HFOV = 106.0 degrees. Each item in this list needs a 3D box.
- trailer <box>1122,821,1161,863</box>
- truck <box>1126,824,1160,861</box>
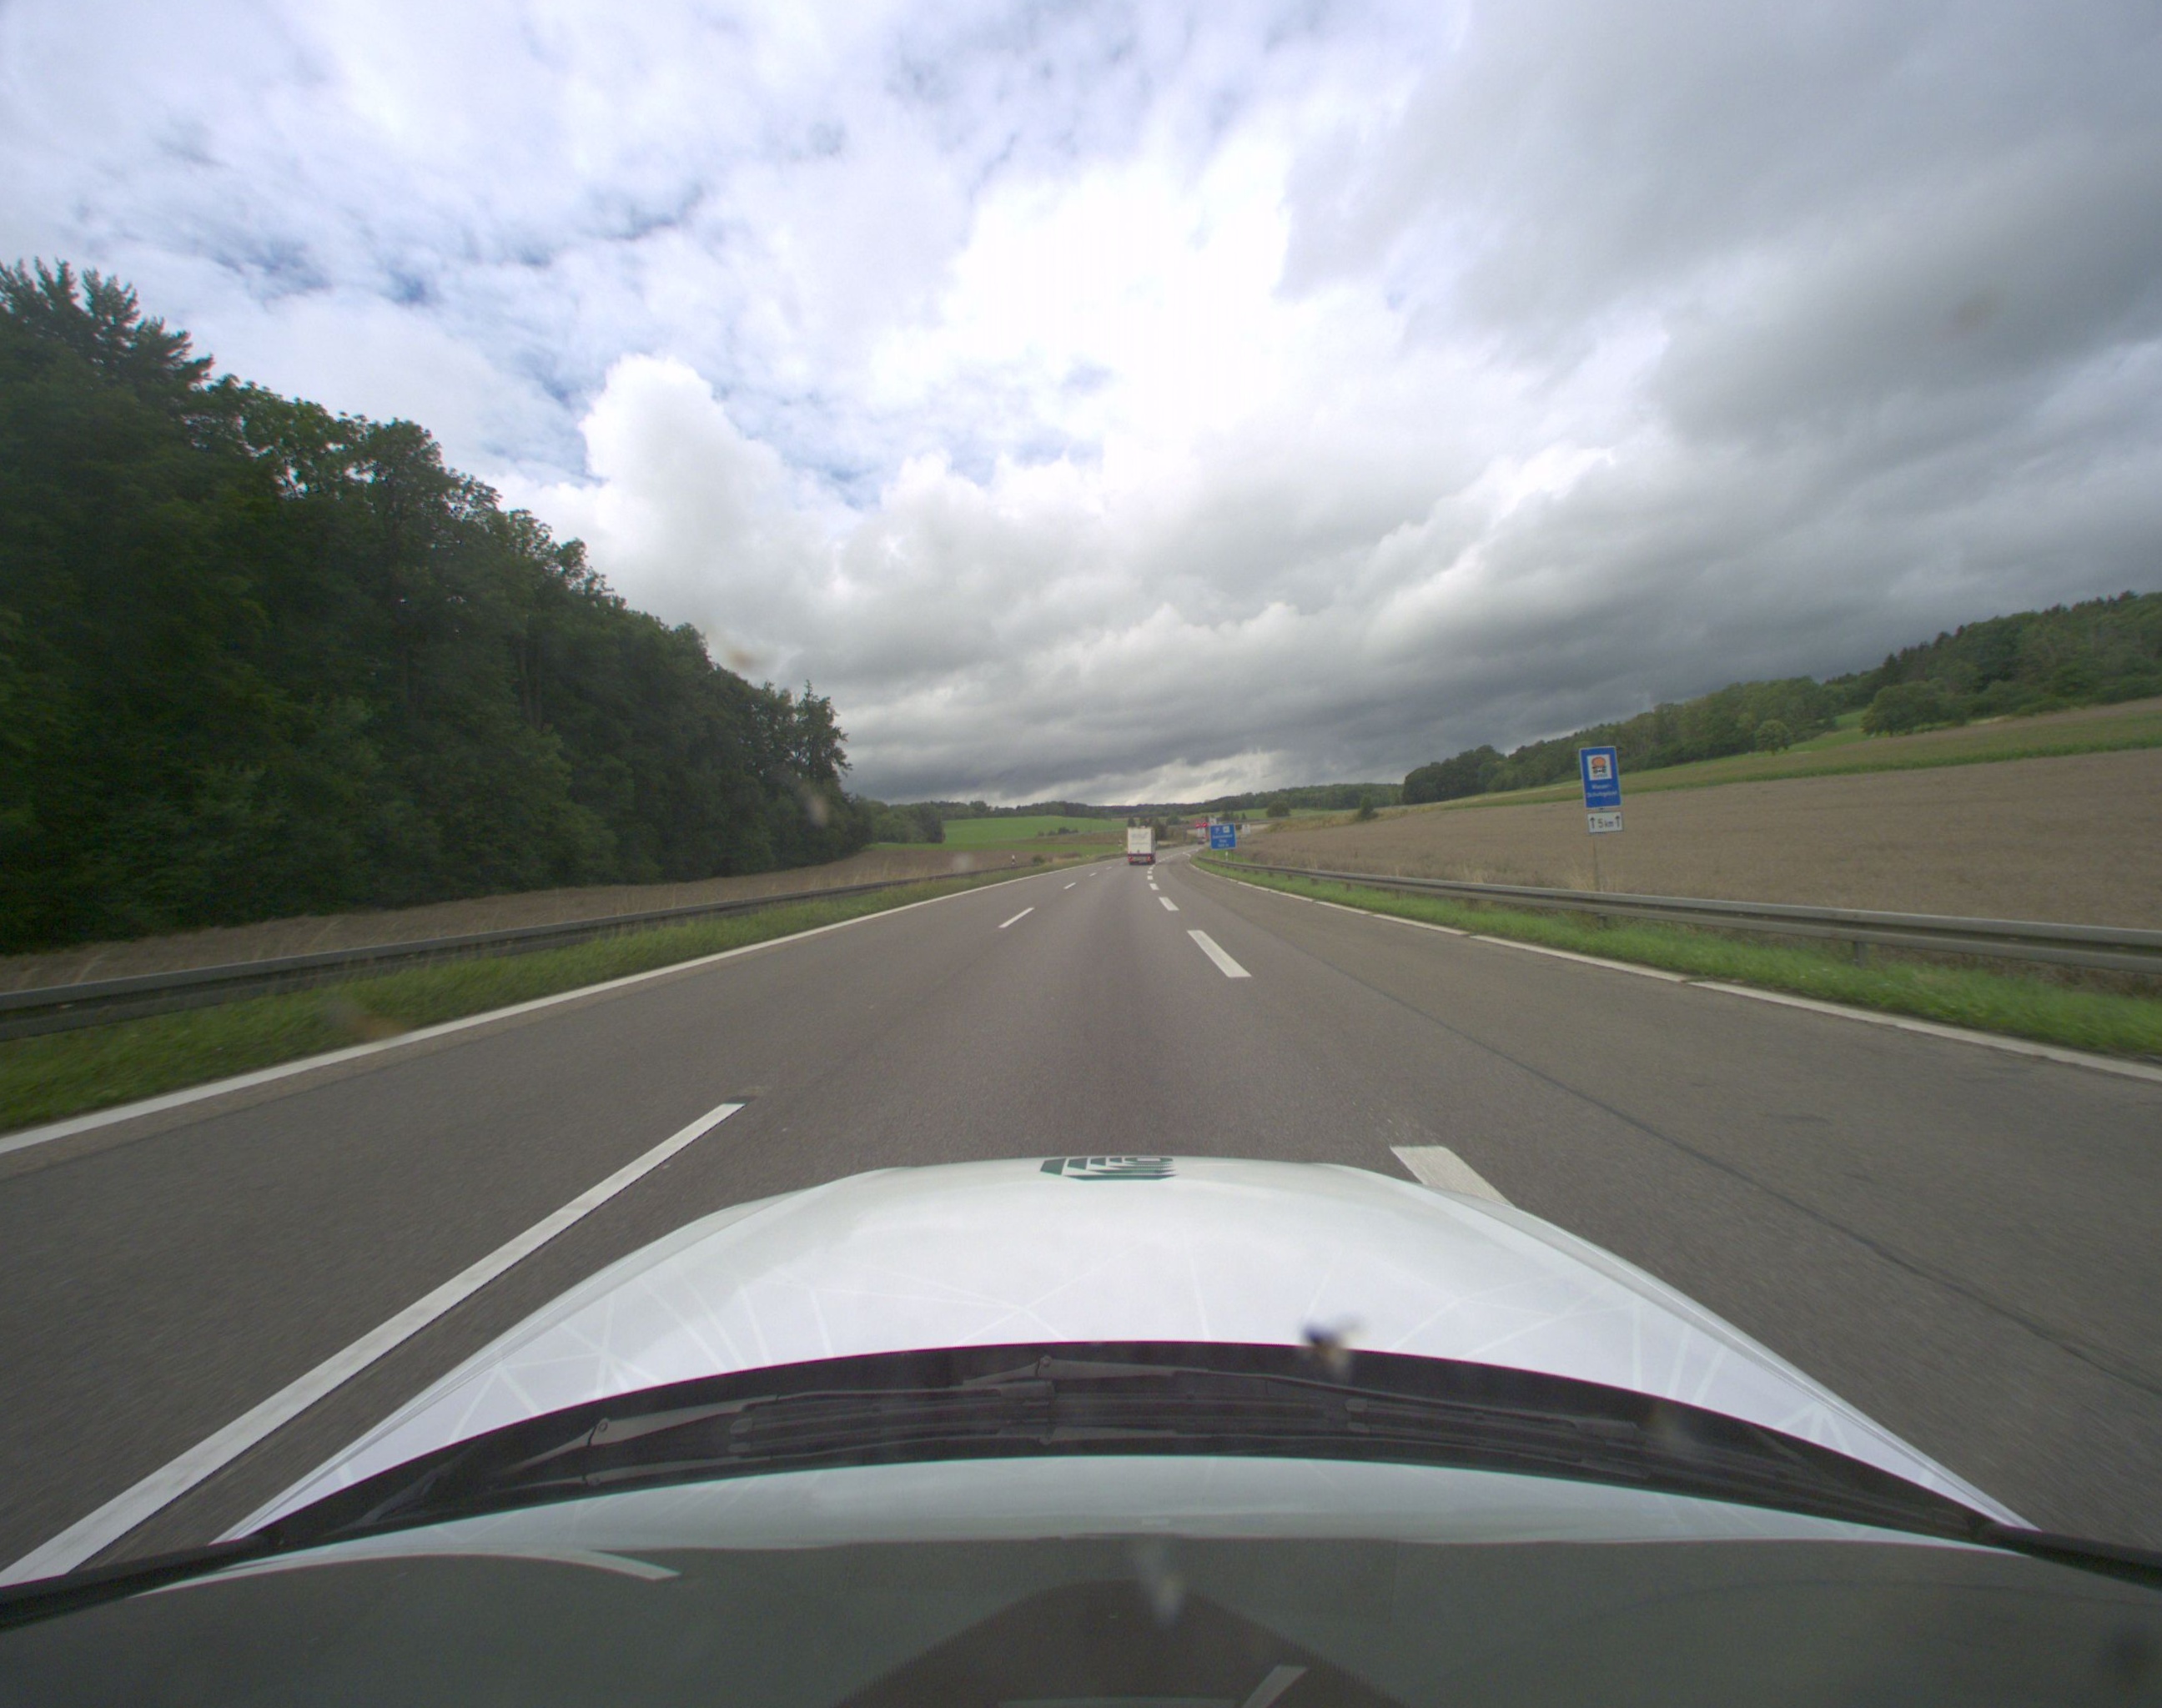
[{"bbox_3d":[6.852,-1.301,90.612,3.787,4.174,14.829,-2,0,5],"label":"trailer"},{"bbox_3d":[7.436,-1.349,97.887,3.771,4.132,8.274,-2,0,4],"label":"truck"}]
